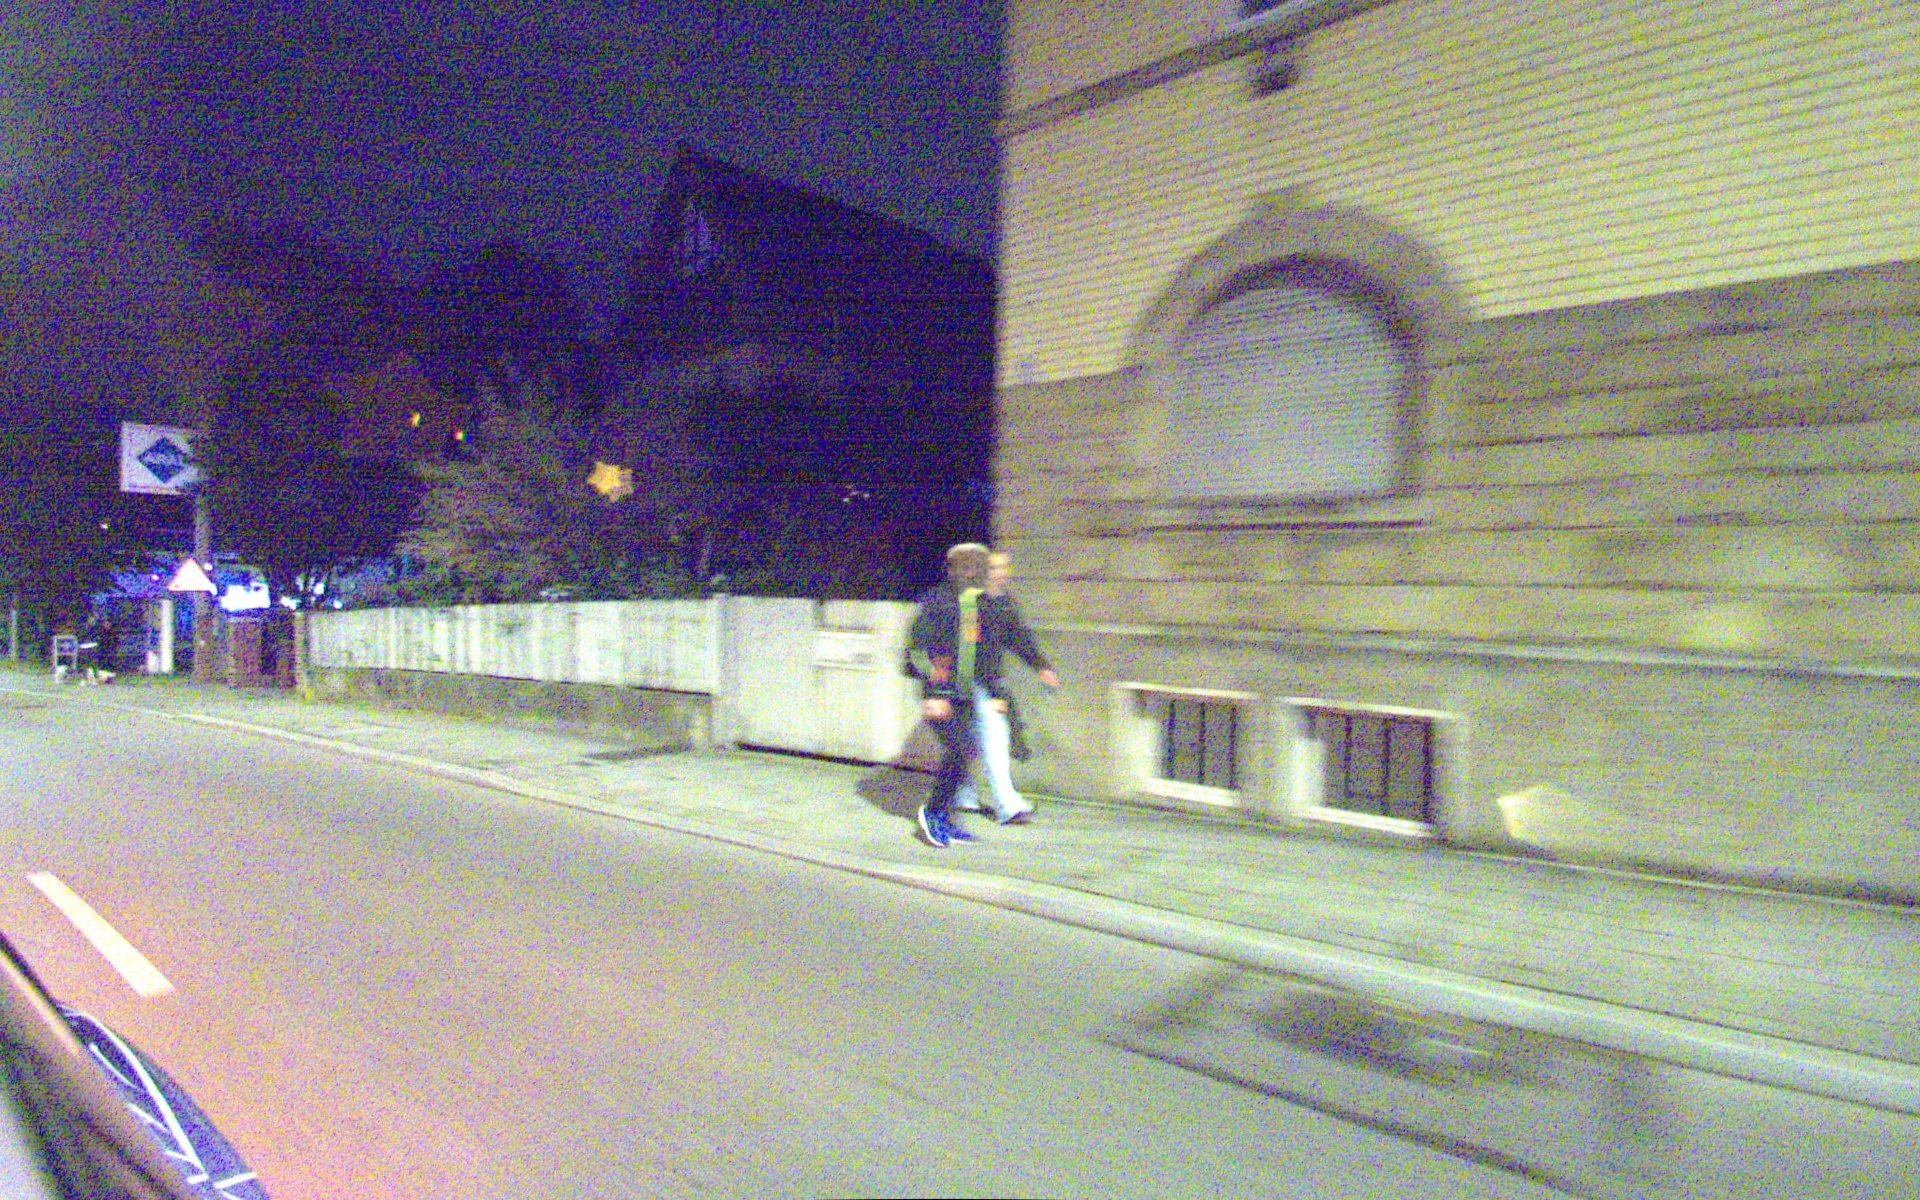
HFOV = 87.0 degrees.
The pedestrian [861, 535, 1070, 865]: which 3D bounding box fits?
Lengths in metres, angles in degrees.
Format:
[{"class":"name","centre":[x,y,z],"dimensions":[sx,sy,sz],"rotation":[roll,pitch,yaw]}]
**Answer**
[{"class":"pedestrian","centre":[0.025,0.538,5.988],"dimensions":[1.028,1.758,0.668],"rotation":[-1,-1,40]}]

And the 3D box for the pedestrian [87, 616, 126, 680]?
[{"class":"pedestrian","centre":[-23.990,1.339,28.440],"dimensions":[0.865,1.739,0.662],"rotation":[-2,-1,38]}]

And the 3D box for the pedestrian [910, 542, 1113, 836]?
[{"class":"pedestrian","centre":[0.335,0.537,6.696],"dimensions":[1.102,1.758,0.734],"rotation":[-1,-1,40]}]

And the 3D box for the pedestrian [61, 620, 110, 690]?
[{"class":"pedestrian","centre":[-21.554,1.333,24.947],"dimensions":[1.102,1.684,0.734],"rotation":[-1,-1,40]}]
